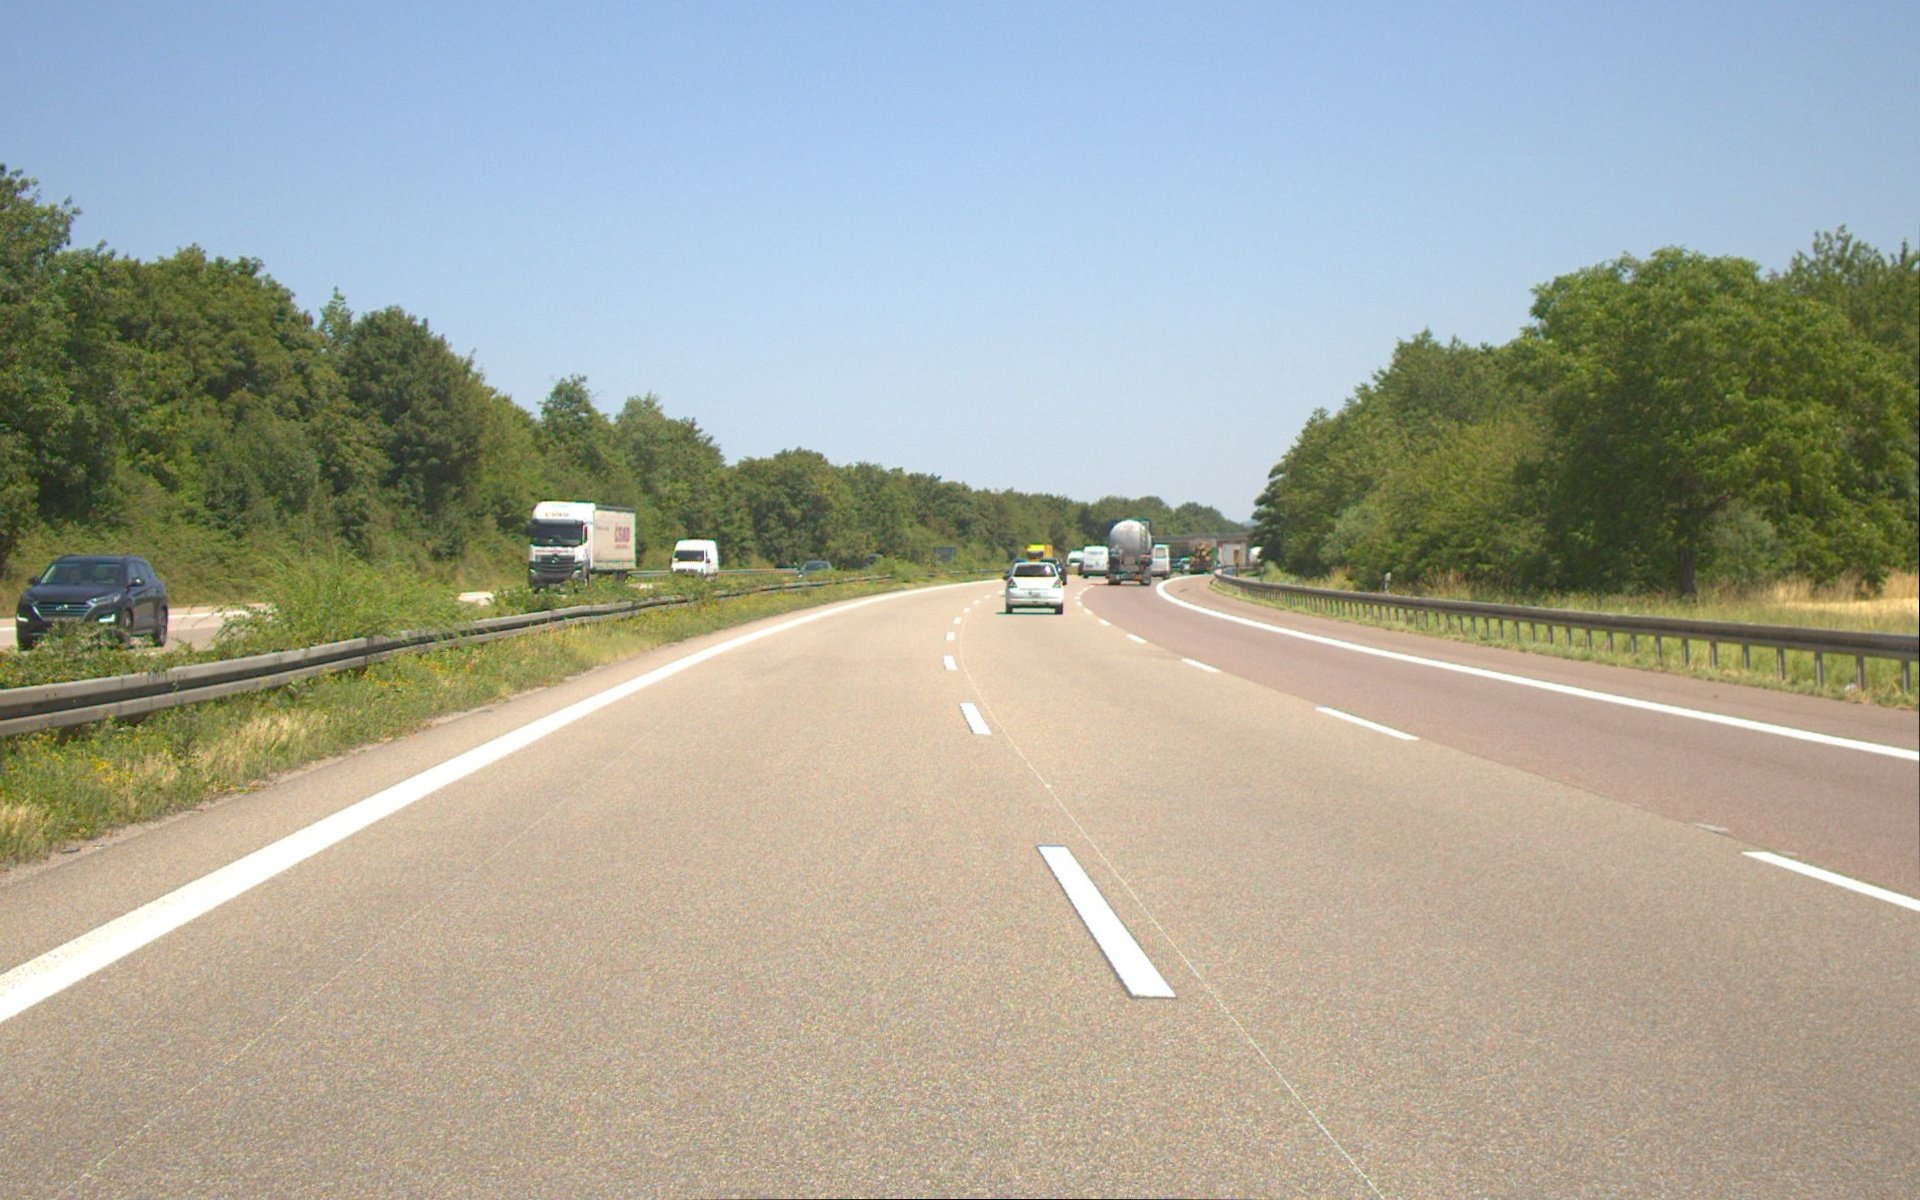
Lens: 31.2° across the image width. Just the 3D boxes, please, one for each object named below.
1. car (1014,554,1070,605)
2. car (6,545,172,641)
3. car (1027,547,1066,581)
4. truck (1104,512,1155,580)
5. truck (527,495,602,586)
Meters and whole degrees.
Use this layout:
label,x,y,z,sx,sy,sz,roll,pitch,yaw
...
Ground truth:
label,x,y,z,sx,sy,sz,roll,pitch,yaw
car,2.420,-0.619,101.456,1.627,1.474,4.000,0,0,1
car,-15.238,-0.148,60.359,1.825,1.626,4.559,0,1,-1
car,5.177,-2.155,204.954,1.994,2.007,3.999,-1,1,5
truck,10.239,-3.221,208.901,2.739,4.038,10.454,0,0,1
truck,-17.505,-2.645,152.336,2.702,3.952,4.443,0,1,1
